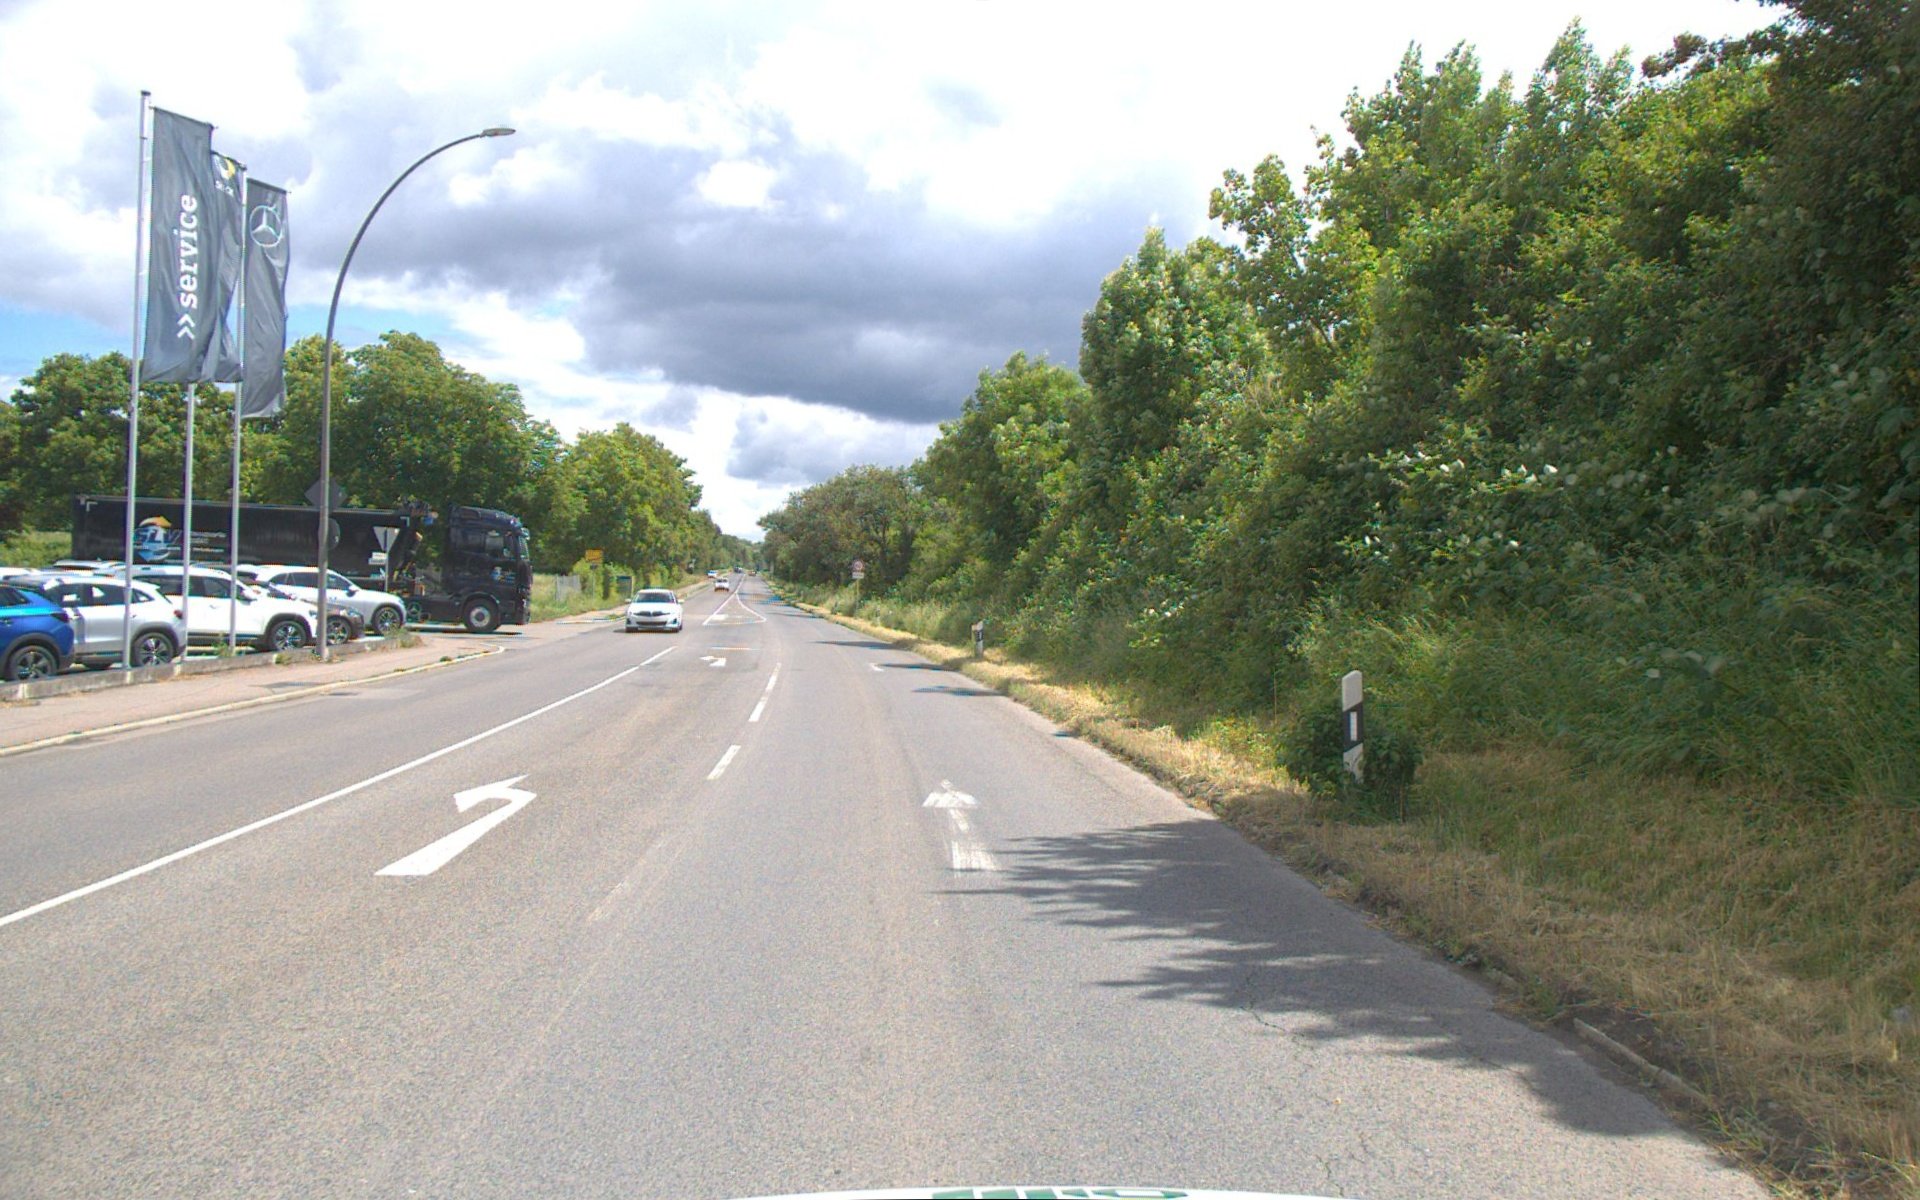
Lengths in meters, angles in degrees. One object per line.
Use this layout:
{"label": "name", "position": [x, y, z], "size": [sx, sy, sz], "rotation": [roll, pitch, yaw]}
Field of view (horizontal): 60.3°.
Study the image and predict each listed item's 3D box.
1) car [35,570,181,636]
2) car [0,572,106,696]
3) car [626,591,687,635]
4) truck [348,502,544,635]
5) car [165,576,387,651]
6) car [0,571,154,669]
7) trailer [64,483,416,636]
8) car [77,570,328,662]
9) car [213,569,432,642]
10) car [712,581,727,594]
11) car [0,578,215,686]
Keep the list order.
{"label": "car", "position": [-22.118, 0.066, 43.161], "size": [1.763, 1.629, 4.758], "rotation": [0, 0, -6]}
{"label": "car", "position": [-14.613, 0.445, 22.984], "size": [1.853, 1.697, 4.561], "rotation": [3, 1, 30]}
{"label": "car", "position": [-10.527, 0.437, 57.580], "size": [1.956, 1.476, 4.418], "rotation": [0, 0, -9]}
{"label": "truck", "position": [-15.905, -0.921, 51.549], "size": [5.457, 3.890, 2.975], "rotation": [1, 0, -12]}
{"label": "car", "position": [-15.223, 0.319, 36.869], "size": [4.278, 1.491, 1.775], "rotation": [2, 2, -35]}
{"label": "car", "position": [-16.723, 0.328, 28.857], "size": [1.833, 1.593, 4.512], "rotation": [3, 1, 30]}
{"label": "trailer", "position": [-21.366, -1.107, 49.621], "size": [9.308, 4.154, 3.296], "rotation": [1, 0, -23]}
{"label": "car", "position": [-15.140, 0.338, 33.156], "size": [4.254, 1.707, 1.911], "rotation": [2, 0, -38]}
{"label": "car", "position": [-15.679, 0.160, 40.911], "size": [1.950, 1.633, 4.722], "rotation": [3, 0, 37]}
{"label": "car", "position": [-26.260, -1.368, 180.724], "size": [1.629, 1.457, 3.686], "rotation": [0, 1, -8]}
{"label": "car", "position": [-14.761, 0.477, 26.999], "size": [1.833, 1.593, 4.512], "rotation": [3, 1, 30]}
